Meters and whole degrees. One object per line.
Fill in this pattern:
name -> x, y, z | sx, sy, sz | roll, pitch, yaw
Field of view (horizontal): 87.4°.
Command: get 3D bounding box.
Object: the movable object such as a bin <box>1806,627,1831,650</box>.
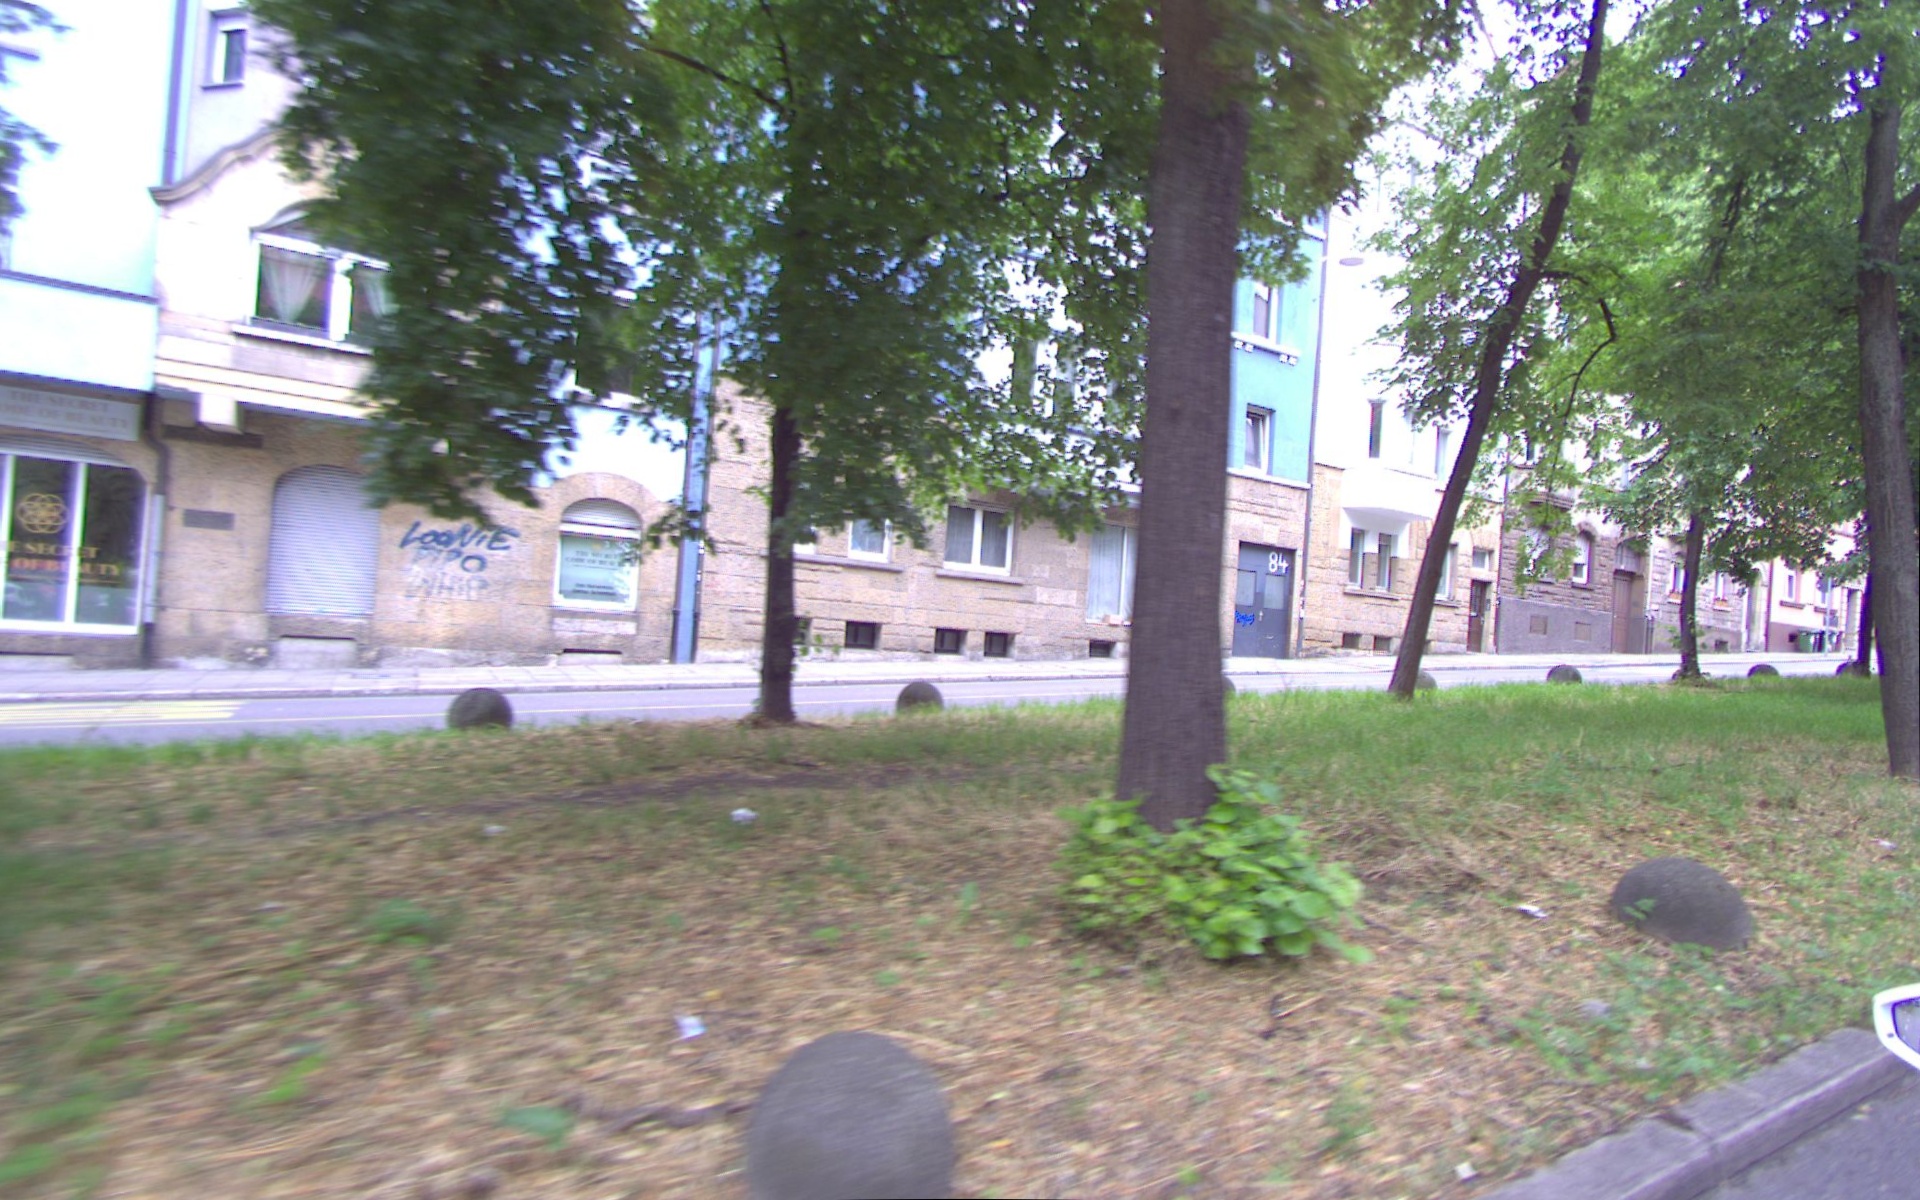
movable object such as a bin -> 34.991, 1.573, 40.956 | 0.595, 0.916, 0.605 | 1, 1, -34

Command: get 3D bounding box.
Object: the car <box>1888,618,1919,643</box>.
car -> 66.258, 2.112, 68.744 | 1.845, 1.687, 4.002 | 3, -1, 4

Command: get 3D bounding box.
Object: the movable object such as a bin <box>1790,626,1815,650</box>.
movable object such as a bin -> 33.733, 1.526, 40.211 | 0.595, 0.916, 0.605 | 1, 1, -34

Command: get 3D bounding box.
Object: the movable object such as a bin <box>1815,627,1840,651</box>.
movable object such as a bin -> 35.630, 1.593, 41.257 | 0.595, 0.916, 0.605 | 1, 1, -34

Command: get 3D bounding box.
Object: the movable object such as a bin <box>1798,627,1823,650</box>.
movable object such as a bin -> 34.348, 1.552, 40.560 | 0.595, 0.916, 0.605 | 1, 1, -34

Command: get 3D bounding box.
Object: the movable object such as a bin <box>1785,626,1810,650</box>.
movable object such as a bin -> 33.219, 1.505, 39.851 | 0.595, 0.916, 0.605 | 1, 1, -34
